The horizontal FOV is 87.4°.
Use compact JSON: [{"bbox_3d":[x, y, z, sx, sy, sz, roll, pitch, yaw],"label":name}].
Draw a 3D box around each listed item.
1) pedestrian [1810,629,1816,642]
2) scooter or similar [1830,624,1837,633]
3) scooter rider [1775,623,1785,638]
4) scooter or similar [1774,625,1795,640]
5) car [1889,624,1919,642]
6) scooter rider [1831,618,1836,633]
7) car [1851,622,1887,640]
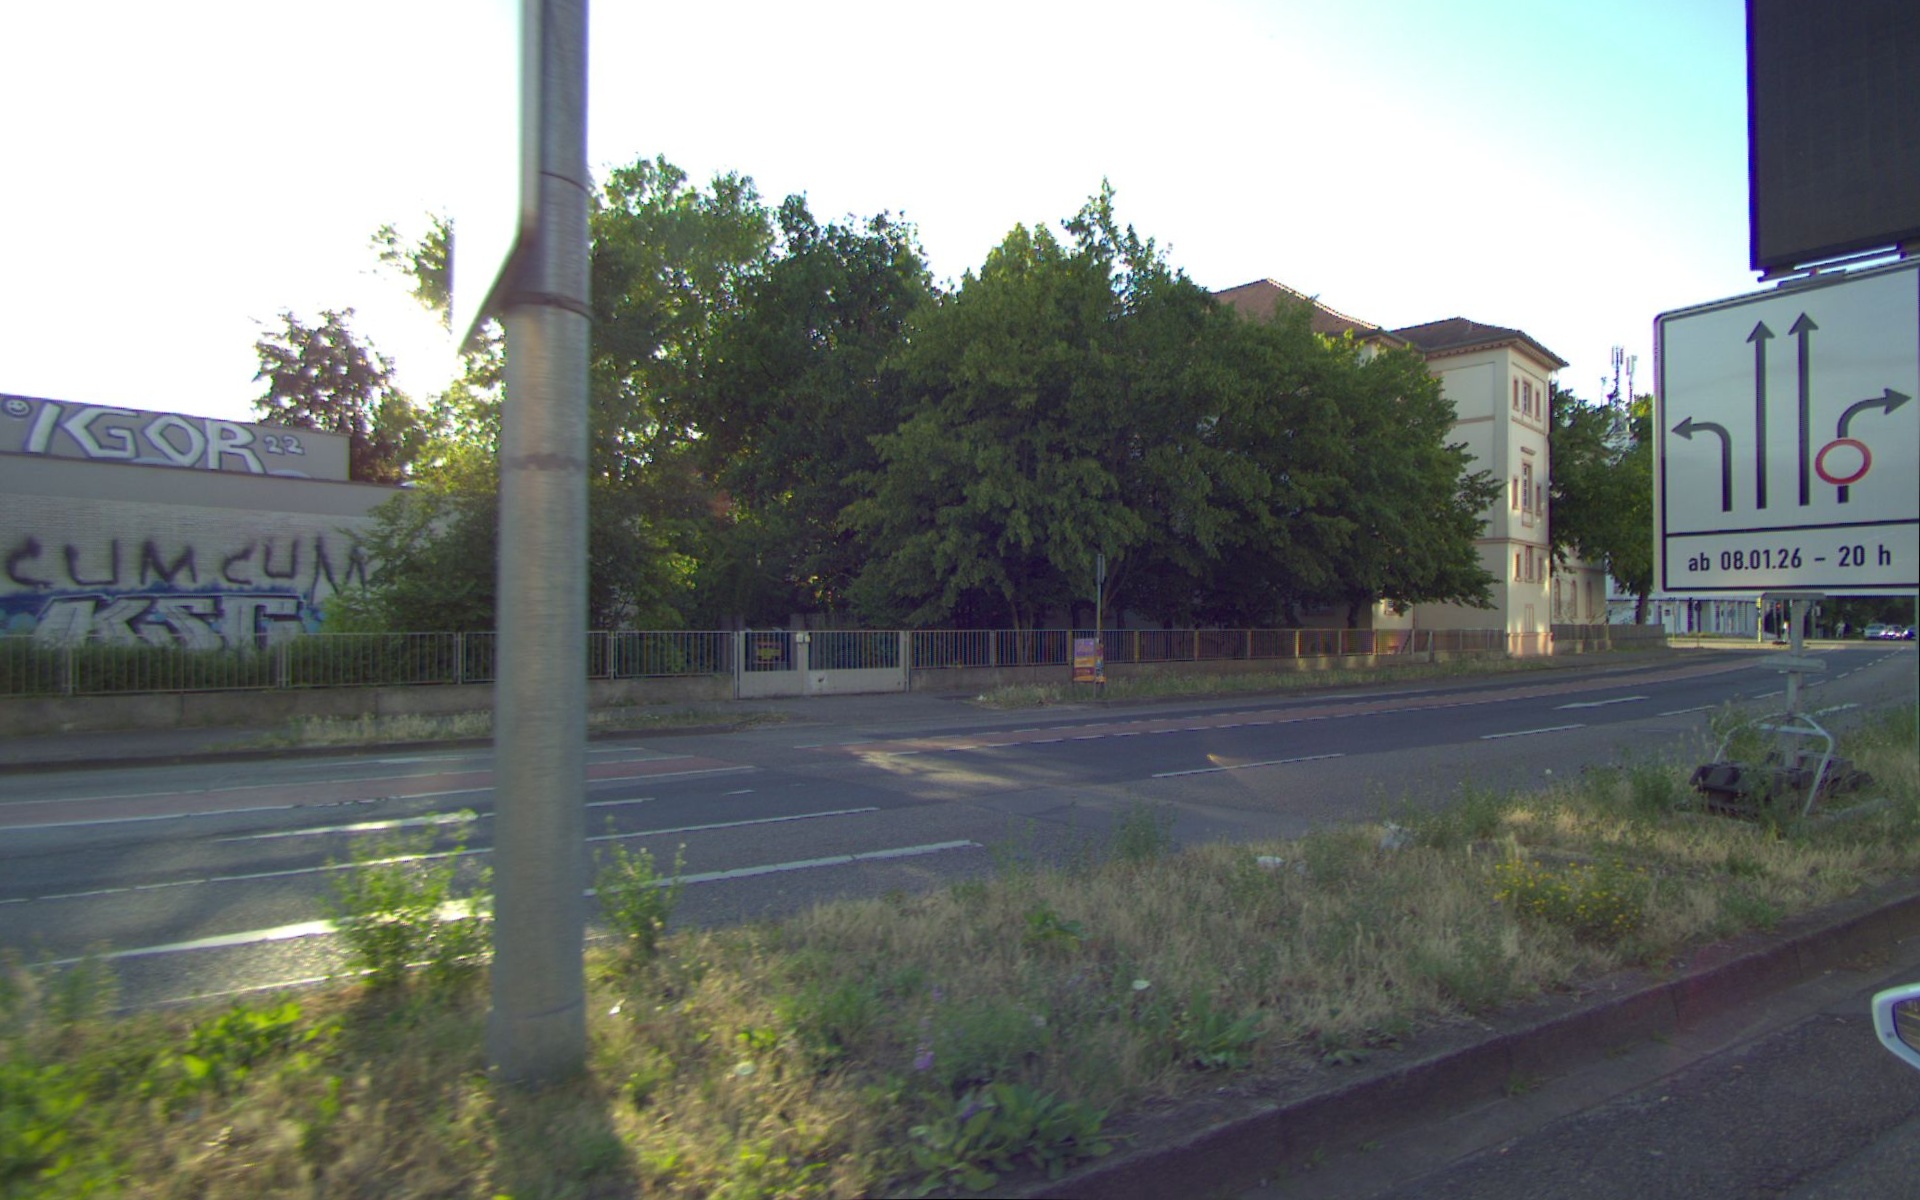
[{"bbox_3d":[83.870,3.472,98.750,0.376,1.307,0.350,1,-1,-43],"label":"pedestrian"},{"bbox_3d":[83.966,2.735,96.549,0.898,0.907,0.354,1,-1,-44],"label":"scooter or similar"},{"bbox_3d":[58.429,2.201,71.531,0.502,1.050,0.445,1,0,36],"label":"scooter rider"},{"bbox_3d":[58.602,2.315,71.390,1.085,0.989,0.557,1,0,37],"label":"scooter or similar"},{"bbox_3d":[90.471,3.105,95.855,3.963,1.616,1.979,1,-1,-37],"label":"car"},{"bbox_3d":[83.971,2.439,96.563,0.335,1.391,0.352,1,-1,-43],"label":"scooter rider"},{"bbox_3d":[88.452,2.991,97.736,3.963,1.616,1.979,1,-1,-37],"label":"car"}]
